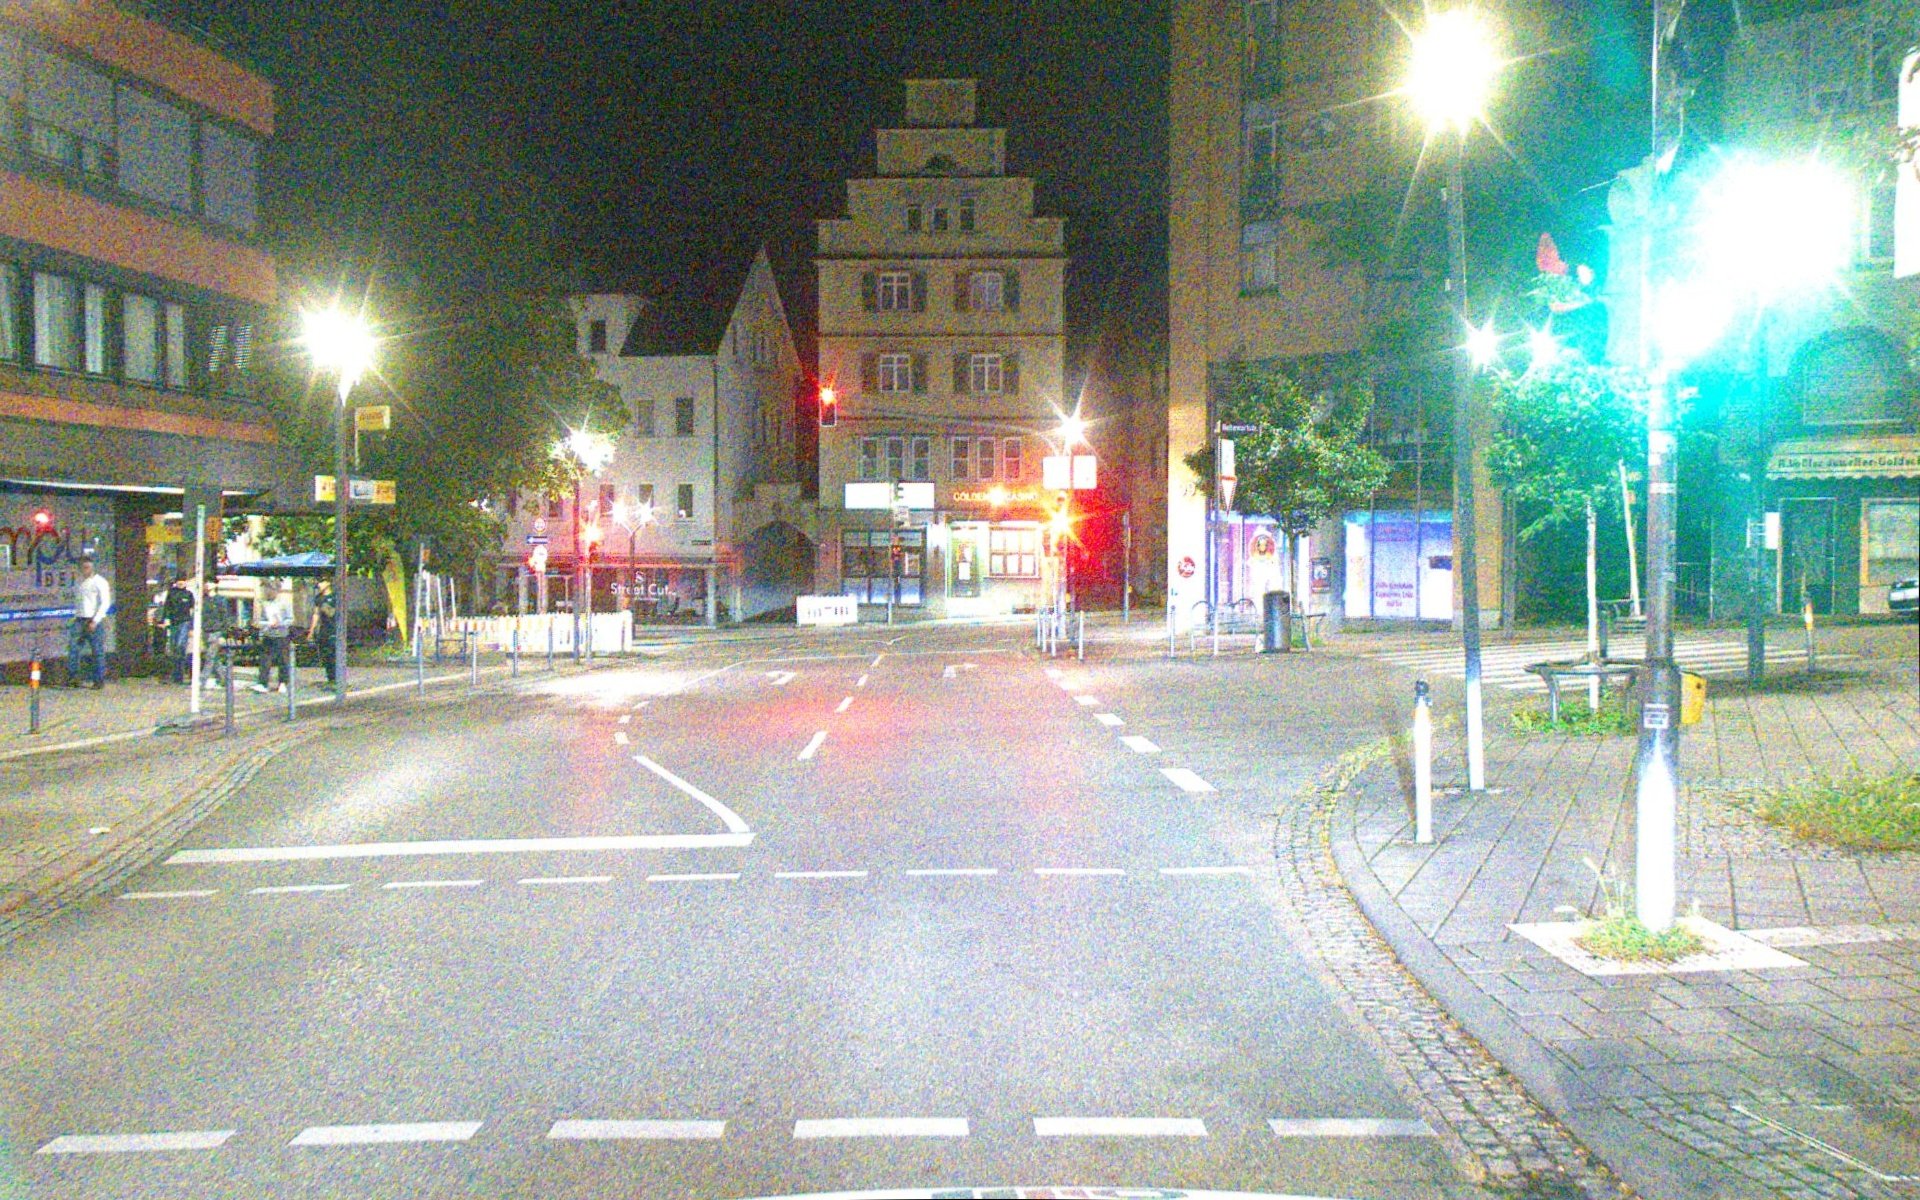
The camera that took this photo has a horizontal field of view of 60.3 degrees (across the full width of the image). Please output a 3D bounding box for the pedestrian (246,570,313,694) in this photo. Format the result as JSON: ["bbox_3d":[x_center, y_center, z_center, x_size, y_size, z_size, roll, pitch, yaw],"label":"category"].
[{"bbox_3d":[-10.201,0.478,24.799,0.701,1.827,0.570,0,-2,6],"label":"pedestrian"}]

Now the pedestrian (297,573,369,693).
[{"bbox_3d":[-9.714,0.513,25.630,0.702,1.827,0.736,0,-2,27],"label":"pedestrian"}]

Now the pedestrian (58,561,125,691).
[{"bbox_3d":[-12.481,0.378,23.790,0.704,1.827,0.567,1,-2,-16],"label":"pedestrian"}]

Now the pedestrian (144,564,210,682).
[{"bbox_3d":[-12.327,0.364,26.041,0.701,1.827,0.570,0,-2,6],"label":"pedestrian"}]

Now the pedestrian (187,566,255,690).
[{"bbox_3d":[-11.121,0.420,24.896,0.701,1.827,0.570,0,-2,6],"label":"pedestrian"}]

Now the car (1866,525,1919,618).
[{"bbox_3d":[17.174,-0.566,26.782,3.957,1.478,1.827,-3,1,6],"label":"car"}]
